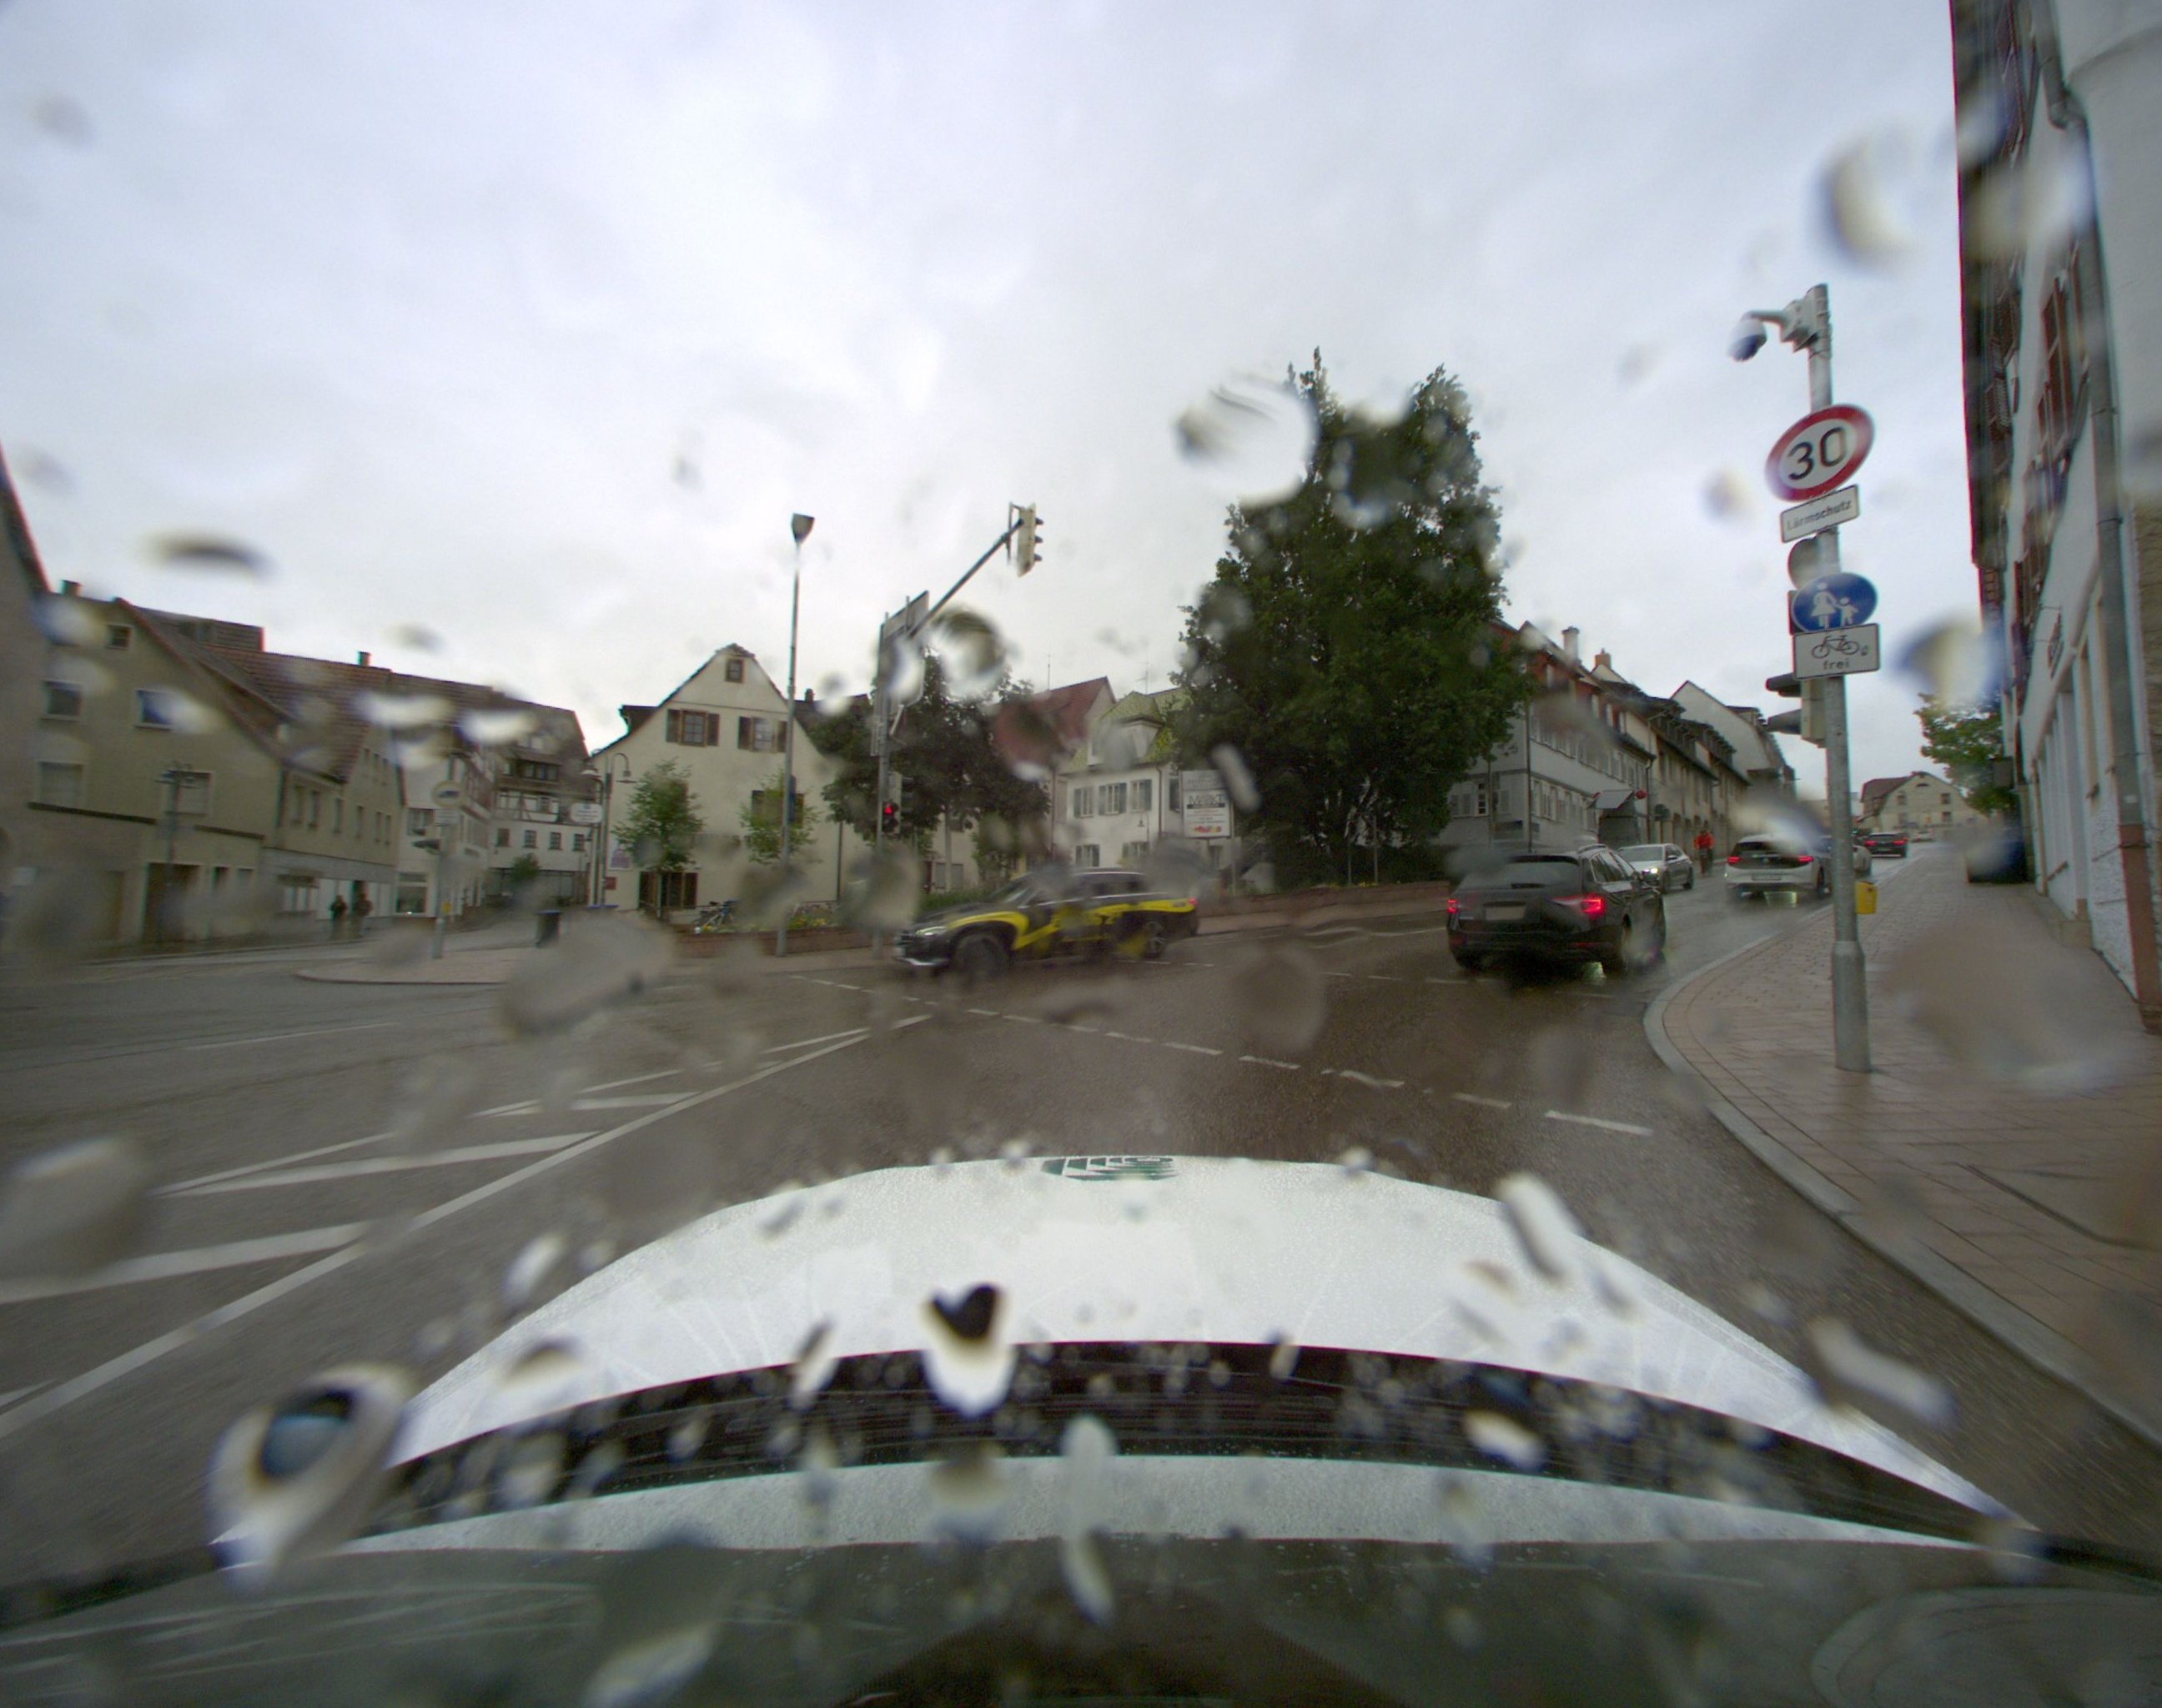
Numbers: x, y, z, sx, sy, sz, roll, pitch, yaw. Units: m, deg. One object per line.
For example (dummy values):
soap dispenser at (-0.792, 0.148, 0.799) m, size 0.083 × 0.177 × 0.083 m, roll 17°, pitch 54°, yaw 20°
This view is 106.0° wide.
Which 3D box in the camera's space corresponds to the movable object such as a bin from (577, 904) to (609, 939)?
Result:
movable object such as a bin at (-12.862, 1.770, 21.458) m, size 0.591 × 0.902 × 0.577 m, roll 3°, pitch -3°, yaw -42°

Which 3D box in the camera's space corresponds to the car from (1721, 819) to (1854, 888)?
car at (17.299, 0.060, 19.880) m, size 4.020 × 1.473 × 1.840 m, roll 3°, pitch -3°, yaw -40°

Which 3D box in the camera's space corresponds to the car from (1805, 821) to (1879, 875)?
car at (25.847, -0.136, 27.625) m, size 4.022 × 1.530 × 1.612 m, roll 5°, pitch -6°, yaw -45°

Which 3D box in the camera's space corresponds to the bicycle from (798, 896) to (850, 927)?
bicycle at (-7.850, 1.745, 24.916) m, size 1.478 × 0.912 × 0.388 m, roll 2°, pitch 0°, yaw -44°

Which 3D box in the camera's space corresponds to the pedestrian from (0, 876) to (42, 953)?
pedestrian at (-24.383, 1.383, 18.560) m, size 0.555 × 1.729 × 0.534 m, roll 2°, pitch -4°, yaw -17°

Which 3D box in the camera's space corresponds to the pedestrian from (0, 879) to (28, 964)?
pedestrian at (-23.810, 1.473, 17.807) m, size 0.803 × 1.830 × 0.705 m, roll -2°, pitch 0°, yaw -42°

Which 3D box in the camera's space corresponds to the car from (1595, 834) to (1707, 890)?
car at (16.690, 0.285, 23.796) m, size 3.889 × 1.428 × 1.648 m, roll 4°, pitch -3°, yaw -39°

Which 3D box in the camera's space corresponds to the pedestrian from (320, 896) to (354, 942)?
pedestrian at (-29.185, 2.527, 31.954) m, size 0.782 × 1.732 × 0.626 m, roll 0°, pitch -1°, yaw -23°

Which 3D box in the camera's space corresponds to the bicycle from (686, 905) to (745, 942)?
bicycle at (-10.047, 1.906, 22.442) m, size 0.387 × 0.912 × 1.479 m, roll 2°, pitch 0°, yaw 34°

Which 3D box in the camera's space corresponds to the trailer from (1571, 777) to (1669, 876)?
trailer at (20.829, -1.016, 31.400) m, size 4.599 × 3.533 × 1.976 m, roll -1°, pitch 0°, yaw -41°

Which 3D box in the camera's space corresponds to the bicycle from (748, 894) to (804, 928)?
bicycle at (-8.884, 1.653, 23.768) m, size 1.478 × 0.912 × 0.388 m, roll 2°, pitch 0°, yaw -44°

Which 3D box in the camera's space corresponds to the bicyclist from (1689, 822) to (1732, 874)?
bicyclist at (26.046, -0.222, 33.697) m, size 0.884 × 2.014 × 1.127 m, roll 4°, pitch -6°, yaw -37°

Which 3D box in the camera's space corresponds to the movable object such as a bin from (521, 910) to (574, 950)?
movable object such as a bin at (-13.038, 1.849, 19.914) m, size 0.719 × 0.927 × 0.790 m, roll 0°, pitch -2°, yaw 11°

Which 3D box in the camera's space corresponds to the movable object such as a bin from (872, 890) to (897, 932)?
movable object such as a bin at (-6.316, 1.816, 26.120) m, size 0.685 × 1.276 × 0.744 m, roll 3°, pitch -2°, yaw -18°

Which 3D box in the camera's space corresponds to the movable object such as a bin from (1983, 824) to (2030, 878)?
movable object such as a bin at (22.840, -0.056, 20.106) m, size 0.606 × 1.207 × 0.620 m, roll 12°, pitch -10°, yaw -28°

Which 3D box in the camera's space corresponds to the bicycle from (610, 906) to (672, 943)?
bicycle at (-11.264, 1.789, 20.869) m, size 0.334 × 0.818 × 1.445 m, roll 2°, pitch 0°, yaw 25°

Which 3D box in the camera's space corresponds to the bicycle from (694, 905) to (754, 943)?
bicycle at (-9.698, 1.890, 22.149) m, size 0.387 × 0.912 × 1.479 m, roll 2°, pitch 0°, yaw 34°

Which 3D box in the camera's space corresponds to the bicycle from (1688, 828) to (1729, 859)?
bicycle at (25.954, -0.409, 33.656) m, size 2.166 × 1.163 × 0.741 m, roll 2°, pitch -4°, yaw -36°

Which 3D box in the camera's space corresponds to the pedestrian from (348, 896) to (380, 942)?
pedestrian at (-28.421, 2.560, 32.301) m, size 0.782 × 1.732 × 0.626 m, roll 0°, pitch -1°, yaw -23°

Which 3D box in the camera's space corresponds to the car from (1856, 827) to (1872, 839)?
car at (112.760, -3.034, 117.256) m, size 4.024 × 1.530 × 1.612 m, roll -2°, pitch 0°, yaw -45°

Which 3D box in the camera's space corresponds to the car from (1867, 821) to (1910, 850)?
car at (46.746, -1.078, 47.177) m, size 1.687 × 1.552 × 3.628 m, roll -2°, pitch 0°, yaw 45°

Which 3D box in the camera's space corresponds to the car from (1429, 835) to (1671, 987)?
car at (6.128, 0.532, 10.360) m, size 1.869 × 1.448 × 4.384 m, roll -1°, pitch 2°, yaw 41°

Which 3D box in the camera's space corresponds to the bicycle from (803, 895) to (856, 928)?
bicycle at (-7.587, 1.725, 24.589) m, size 1.478 × 0.912 × 0.388 m, roll 2°, pitch 0°, yaw -44°

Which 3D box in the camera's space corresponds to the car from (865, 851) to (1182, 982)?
car at (-0.849, 0.831, 12.591) m, size 4.426 × 1.538 × 1.981 m, roll -3°, pitch 0°, yaw -29°

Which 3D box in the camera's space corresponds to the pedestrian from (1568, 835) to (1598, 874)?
pedestrian at (20.222, -0.001, 32.789) m, size 1.050 × 1.530 × 0.701 m, roll -2°, pitch 1°, yaw -40°
